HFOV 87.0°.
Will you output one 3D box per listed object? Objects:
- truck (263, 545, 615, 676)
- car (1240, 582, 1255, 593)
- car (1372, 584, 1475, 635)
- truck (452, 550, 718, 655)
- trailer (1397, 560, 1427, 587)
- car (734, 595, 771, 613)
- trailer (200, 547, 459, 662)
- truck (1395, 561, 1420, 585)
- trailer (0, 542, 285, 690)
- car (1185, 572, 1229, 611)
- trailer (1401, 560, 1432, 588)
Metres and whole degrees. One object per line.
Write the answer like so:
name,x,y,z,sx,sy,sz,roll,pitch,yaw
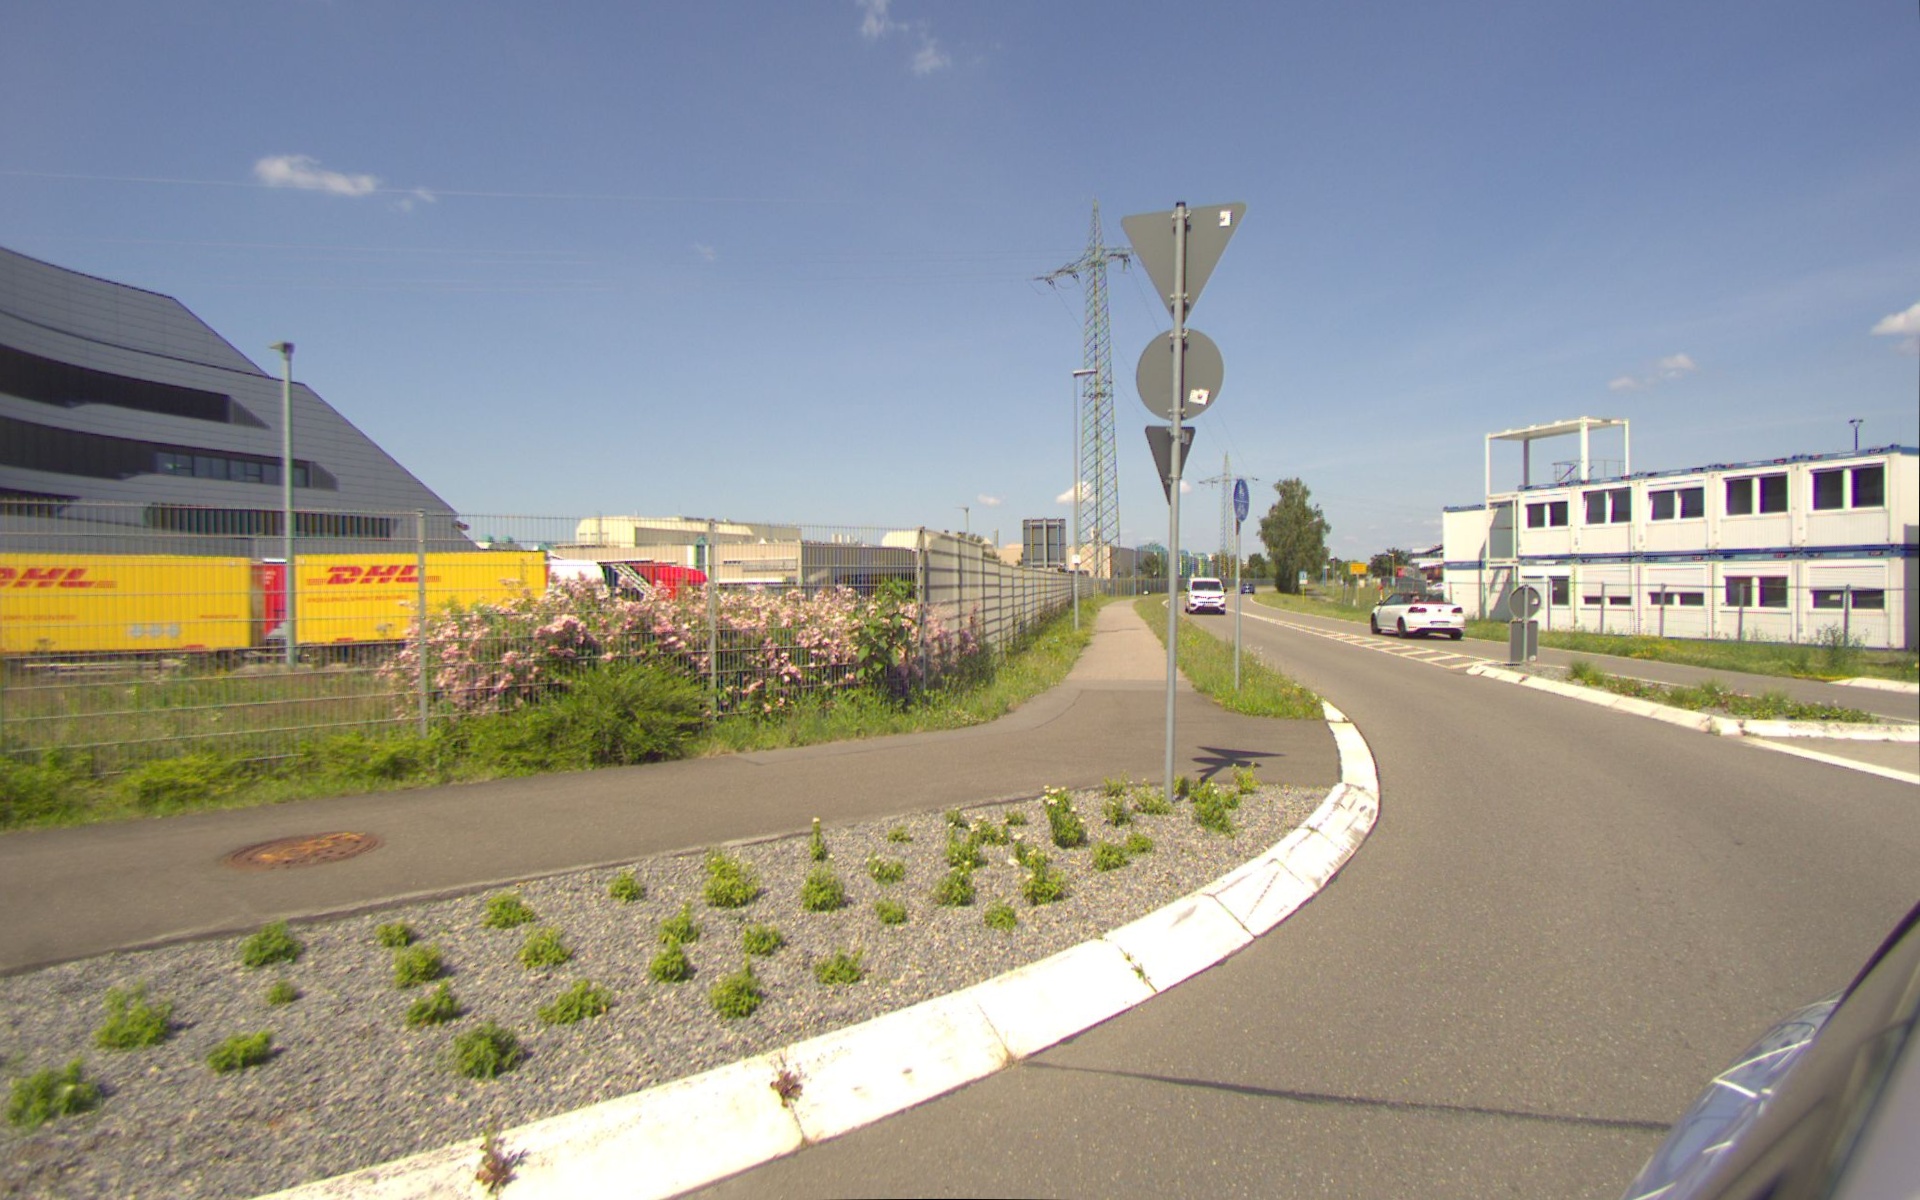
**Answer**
truck,-17.987,0.264,35.926,10.744,4.224,2.829,0,2,-22
car,38.387,-1.682,135.093,1.688,1.500,3.973,1,2,21
car,14.139,0.232,31.112,1.745,1.446,4.045,0,1,7
truck,-16.434,0.015,44.924,10.745,4.309,3.035,0,2,-23
trailer,65.700,-3.862,147.290,3.262,3.690,14.821,1,2,21
car,-19.686,0.384,95.874,3.107,1.553,1.449,-1,1,16
trailer,-25.294,0.104,41.211,8.533,4.349,3.035,0,2,-22
truck,70.234,-4.228,159.101,3.075,3.690,10.520,1,2,21
trailer,-26.690,0.403,31.998,8.537,4.349,2.907,-1,2,-26
car,12.383,-0.473,50.982,1.808,1.829,4.817,1,2,10
trailer,61.485,-3.524,136.388,3.370,3.690,8.598,1,2,21
